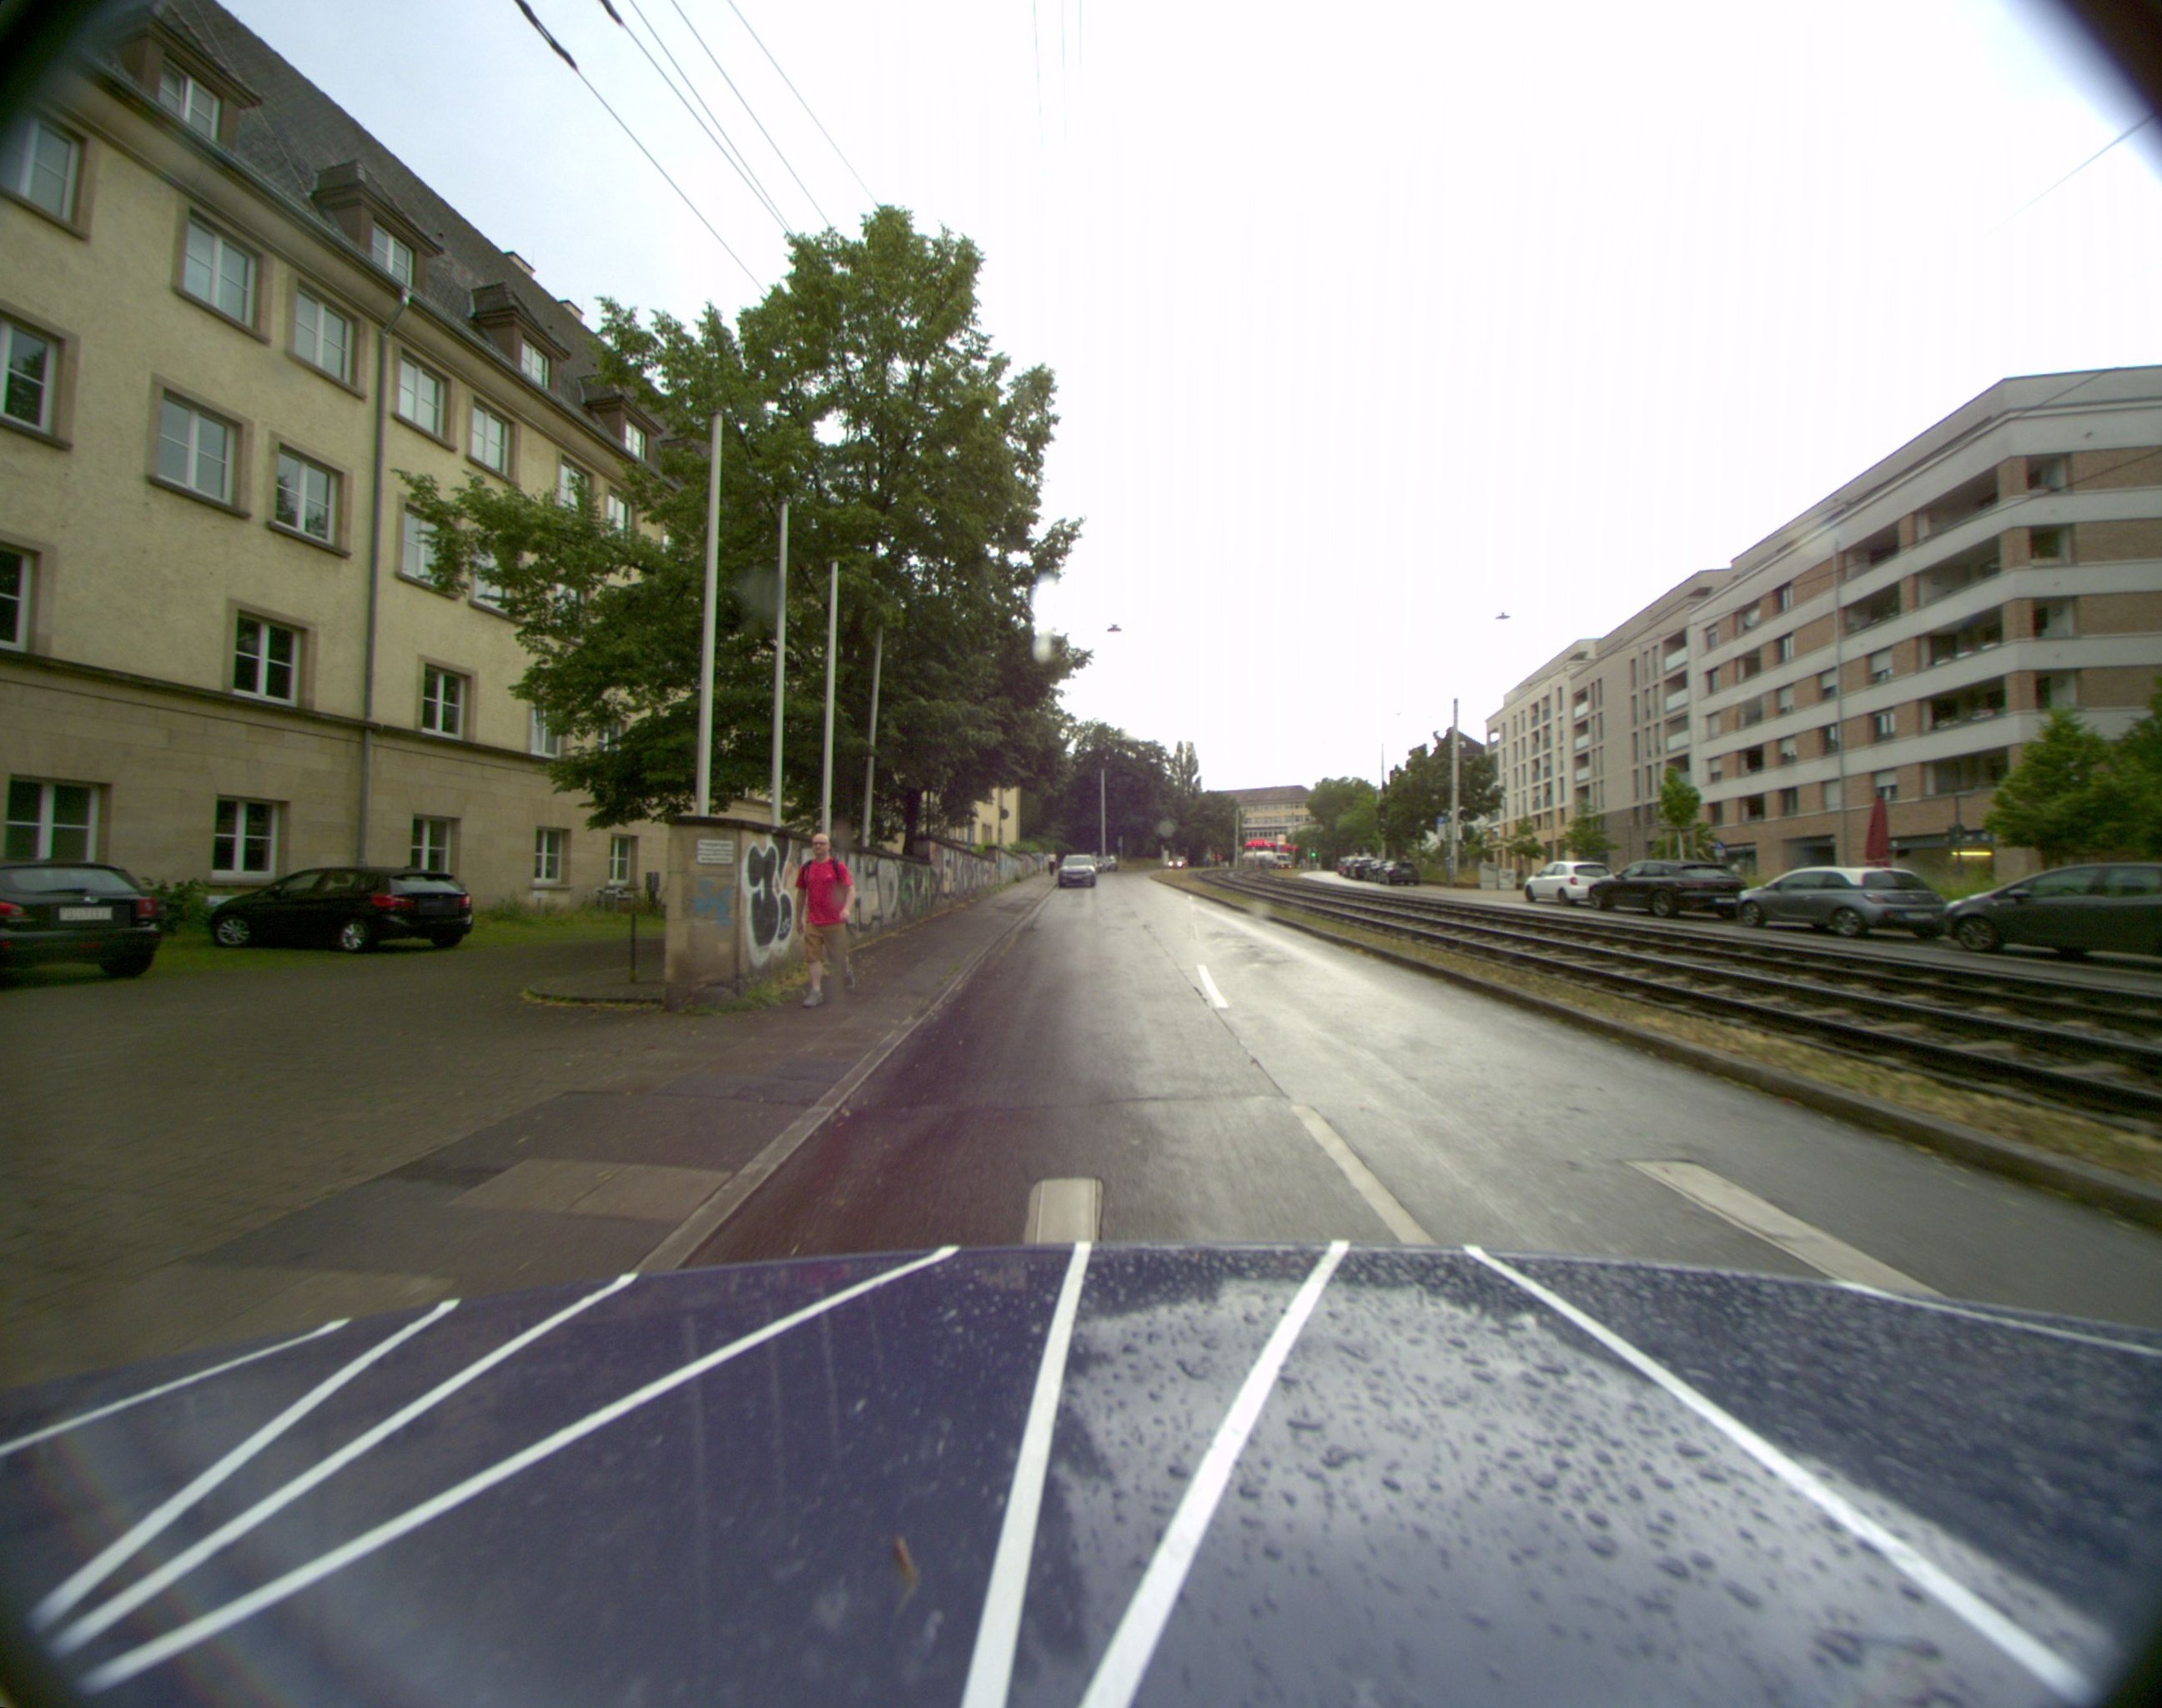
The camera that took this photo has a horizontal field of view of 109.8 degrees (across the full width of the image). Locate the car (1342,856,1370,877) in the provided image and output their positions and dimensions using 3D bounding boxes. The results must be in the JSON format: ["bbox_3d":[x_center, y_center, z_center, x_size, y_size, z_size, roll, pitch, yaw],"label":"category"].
[{"bbox_3d":[22.622,0.980,62.667,1.734,1.634,4.537,0,0,15],"label":"car"}]

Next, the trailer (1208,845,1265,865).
[{"bbox_3d":[27.911,0.230,136.036,9.817,3.376,2.817,1,0,13],"label":"trailer"}]

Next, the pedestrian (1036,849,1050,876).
[{"bbox_3d":[-2.531,0.563,50.587,0.719,1.744,0.740,2,1,13],"label":"pedestrian"}]

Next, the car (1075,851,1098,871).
[{"bbox_3d":[0.392,0.487,56.059,1.670,1.468,4.066,0,0,0],"label":"car"}]

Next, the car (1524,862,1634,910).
[{"bbox_3d":[17.264,1.059,26.557,1.769,1.470,3.737,1,0,8],"label":"car"}]

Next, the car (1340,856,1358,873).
[{"bbox_3d":[25.538,1.005,72.395,1.470,1.522,2.936,1,0,21],"label":"car"}]

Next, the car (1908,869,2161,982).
[{"bbox_3d":[16.233,1.051,12.000,1.723,1.504,4.318,0,0,2],"label":"car"}]

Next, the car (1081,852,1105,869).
[{"bbox_3d":[1.052,0.553,65.216,1.538,1.408,3.647,2,0,10],"label":"car"}]

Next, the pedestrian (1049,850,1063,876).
[{"bbox_3d":[-1.639,0.588,50.379,0.719,1.744,0.740,2,1,13],"label":"pedestrian"}]

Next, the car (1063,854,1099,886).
[{"bbox_3d":[0.047,0.756,38.451,1.669,1.515,4.109,0,0,2],"label":"car"}]

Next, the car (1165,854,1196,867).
[{"bbox_3d":[12.038,0.792,91.652,1.885,1.482,3.858,1,0,38],"label":"car"}]

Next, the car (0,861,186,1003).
[{"bbox_3d":[-14.472,0.886,9.724,4.458,1.578,1.797,2,-1,9],"label":"car"}]

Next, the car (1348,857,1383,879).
[{"bbox_3d":[21.273,1.002,56.900,1.806,1.574,4.703,0,0,12],"label":"car"}]

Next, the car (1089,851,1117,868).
[{"bbox_3d":[2.030,0.472,69.214,1.599,1.457,2.726,2,0,24],"label":"car"}]

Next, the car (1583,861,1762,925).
[{"bbox_3d":[16.760,1.024,21.874,1.770,1.552,4.406,1,0,2],"label":"car"}]

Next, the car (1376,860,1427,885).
[{"bbox_3d":[19.349,1.081,46.013,1.969,1.422,4.202,0,0,10],"label":"car"}]

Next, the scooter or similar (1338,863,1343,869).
[{"bbox_3d":[56.739,2.579,166.310,1.365,1.186,0.399,-3,3,-42],"label":"scooter or similar"}]

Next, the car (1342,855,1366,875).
[{"bbox_3d":[24.385,0.935,68.007,1.665,1.737,4.262,0,0,15],"label":"car"}]

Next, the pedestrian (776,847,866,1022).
[{"bbox_3d":[-2.654,0.788,7.816,0.634,1.711,0.711,1,1,2],"label":"pedestrian"}]

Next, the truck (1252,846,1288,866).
[{"bbox_3d":[33.506,0.276,134.734,6.113,3.379,2.841,1,0,14],"label":"truck"}]

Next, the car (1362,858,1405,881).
[{"bbox_3d":[20.630,1.040,51.979,1.740,1.480,4.260,0,0,8],"label":"car"}]

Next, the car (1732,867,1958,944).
[{"bbox_3d":[16.627,1.052,16.789,1.552,1.427,3.451,1,0,2],"label":"car"}]

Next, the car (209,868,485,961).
[{"bbox_3d":[-13.717,1.086,14.293,3.941,1.488,1.631,2,-2,9],"label":"car"}]

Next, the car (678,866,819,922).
[{"bbox_3d":[-11.365,1.330,26.077,4.130,1.783,1.797,0,0,12],"label":"car"}]
